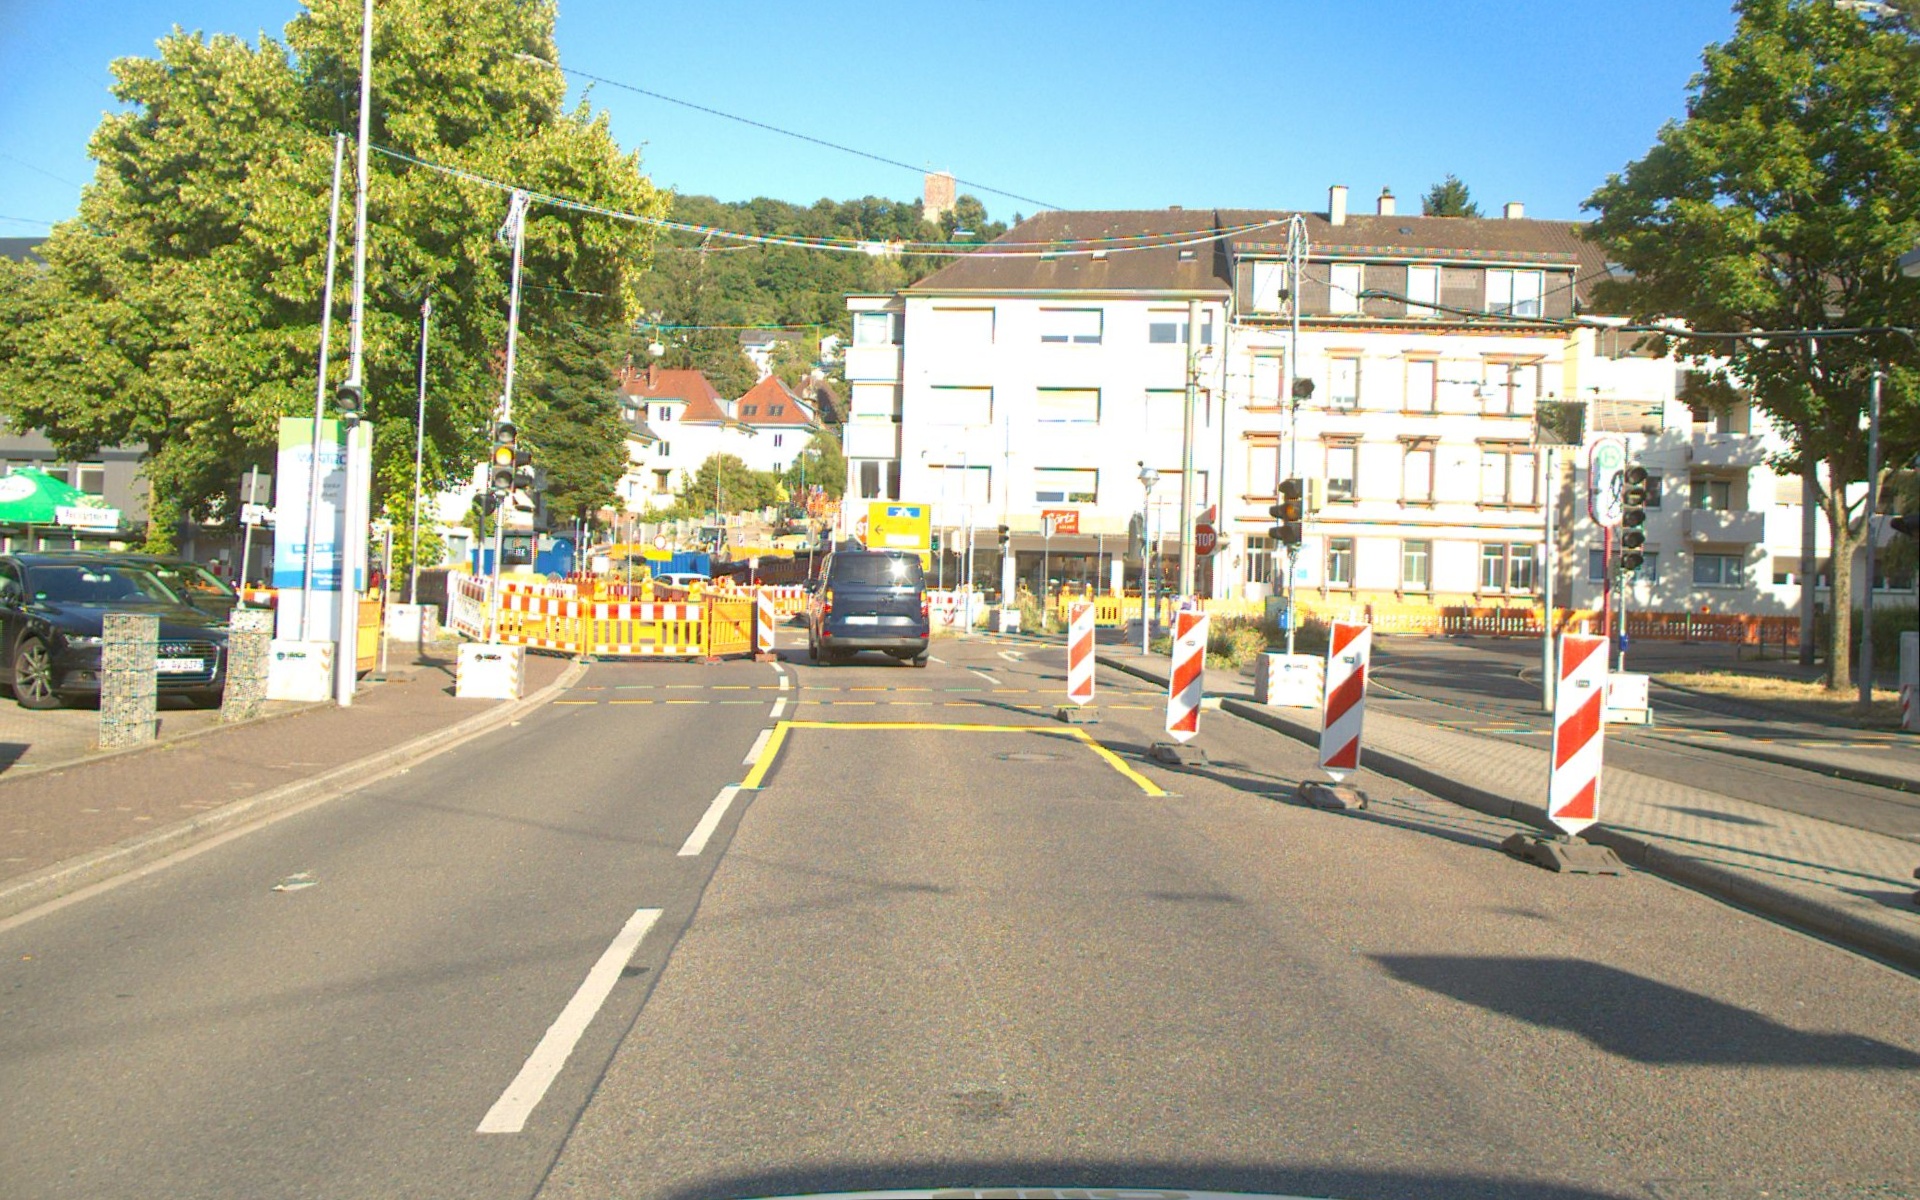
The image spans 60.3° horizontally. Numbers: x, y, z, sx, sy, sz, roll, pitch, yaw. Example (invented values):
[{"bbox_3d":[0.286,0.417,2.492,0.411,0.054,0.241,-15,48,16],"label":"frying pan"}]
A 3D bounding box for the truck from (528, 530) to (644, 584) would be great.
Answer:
[{"bbox_3d":[-18.396,-2.067,82.097,2.306,2.458,9.160,2,1,9],"label":"truck"}]

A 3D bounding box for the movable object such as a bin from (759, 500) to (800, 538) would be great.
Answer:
[{"bbox_3d":[-13.880,-6.216,127.392,2.144,2.737,4.003,2,0,8],"label":"movable object such as a bin"}]

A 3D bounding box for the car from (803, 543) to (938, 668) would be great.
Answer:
[{"bbox_3d":[-1.730,0.074,30.155,2.023,2.049,4.992,1,0,-8],"label":"car"}]

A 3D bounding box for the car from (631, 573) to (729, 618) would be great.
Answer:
[{"bbox_3d":[-9.374,-0.169,55.217,1.778,1.434,3.953,1,0,-34],"label":"car"}]

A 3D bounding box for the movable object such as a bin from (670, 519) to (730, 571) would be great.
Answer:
[{"bbox_3d":[-14.556,-3.069,92.805,2.144,2.737,4.003,2,0,8],"label":"movable object such as a bin"}]

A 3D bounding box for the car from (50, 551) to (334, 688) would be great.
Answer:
[{"bbox_3d":[-9.873,0.202,21.128,4.220,1.480,1.642,3,1,40],"label":"car"}]

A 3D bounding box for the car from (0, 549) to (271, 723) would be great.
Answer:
[{"bbox_3d":[-8.878,0.280,16.783,4.239,1.480,1.898,3,1,43],"label":"car"}]
